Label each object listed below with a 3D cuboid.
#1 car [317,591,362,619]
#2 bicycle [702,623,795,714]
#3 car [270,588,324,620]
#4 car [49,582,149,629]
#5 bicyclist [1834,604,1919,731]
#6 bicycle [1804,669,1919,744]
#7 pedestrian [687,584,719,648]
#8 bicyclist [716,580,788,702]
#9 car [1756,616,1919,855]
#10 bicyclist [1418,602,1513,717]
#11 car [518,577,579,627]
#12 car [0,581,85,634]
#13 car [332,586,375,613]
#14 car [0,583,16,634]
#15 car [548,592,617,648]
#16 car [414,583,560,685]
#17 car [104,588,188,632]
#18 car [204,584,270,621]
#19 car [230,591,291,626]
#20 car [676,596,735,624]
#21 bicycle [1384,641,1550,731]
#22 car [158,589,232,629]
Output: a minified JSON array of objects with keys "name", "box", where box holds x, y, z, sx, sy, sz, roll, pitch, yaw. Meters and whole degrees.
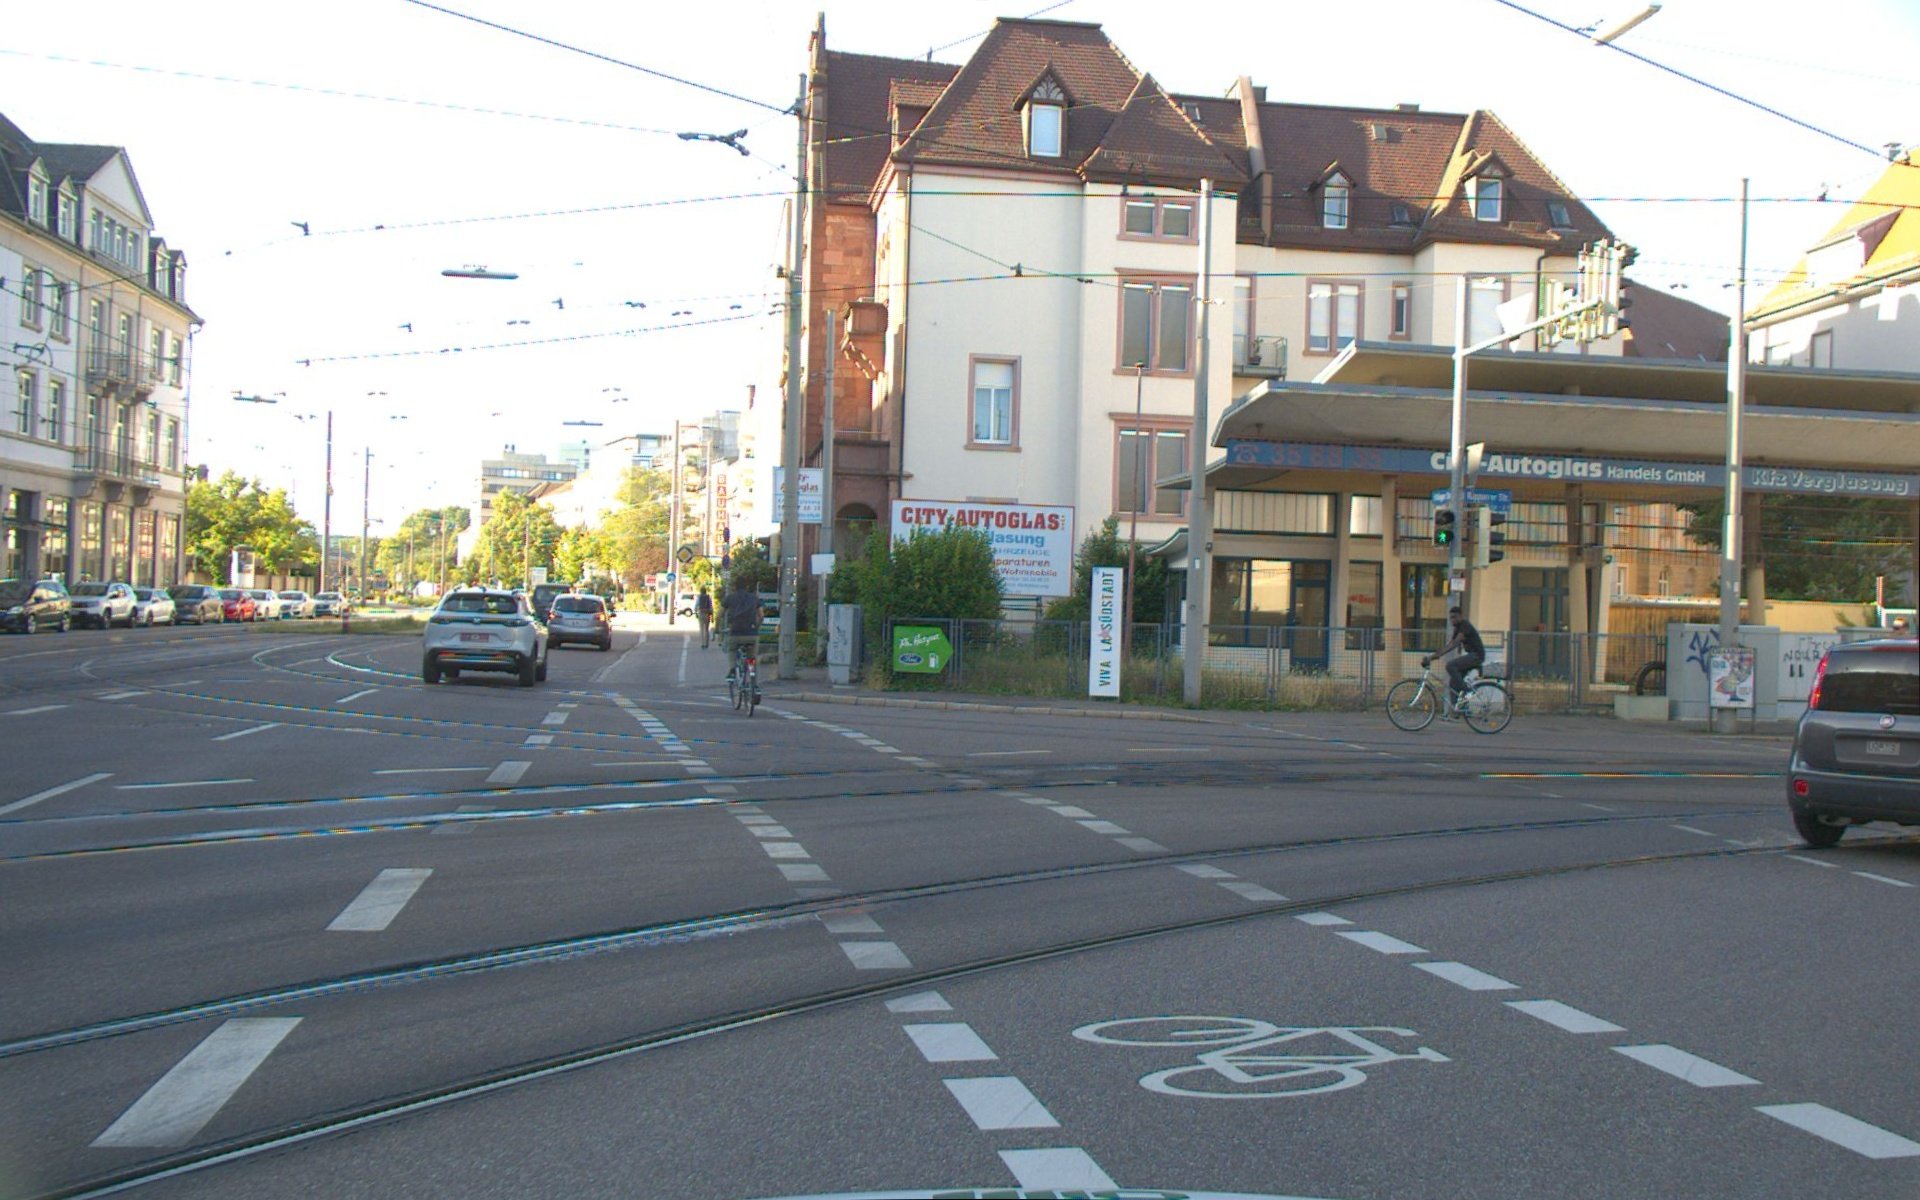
[{"name":"car","box":[-36.469,0.267,97.256,1.687,1.579,3.992,1,0,-9]},{"name":"bicycle","box":[-2.800,0.881,21.777,0.760,1.105,1.859,2,0,-22]},{"name":"car","box":[-34.678,0.198,86.569,1.687,1.579,3.992,1,0,-9]},{"name":"car","box":[-30.022,0.183,57.821,1.801,1.579,4.265,1,0,-9]},{"name":"bicyclist","box":[13.644,0.978,24.179,1.228,1.818,0.908,1,-1,-14]},{"name":"bicycle","box":[13.462,1.556,24.133,2.003,1.035,0.726,1,-1,-9]},{"name":"pedestrian","box":[-7.613,0.480,49.047,0.859,1.856,1.182,2,-1,-8]},{"name":"bicyclist","box":[-2.728,0.528,21.638,0.819,1.552,0.991,2,-1,-12]},{"name":"car","box":[7.699,0.942,12.154,3.957,1.527,1.714,2,0,-37]},{"name":"bicyclist","box":[7.006,0.815,22.968,1.026,1.553,0.879,1,0,0]},{"name":"car","box":[-17.739,0.086,71.488,2.132,2.044,4.797,1,0,-9]},{"name":"car","box":[-28.718,0.215,51.186,1.687,1.579,3.848,1,0,-9]},{"name":"car","box":[-37.783,-0.028,103.120,1.687,1.579,3.992,1,0,-9]},{"name":"car","box":[-28.150,0.226,46.270,1.687,1.477,3.992,1,0,-9]},{"name":"car","box":[-11.525,0.590,50.710,1.781,1.610,3.991,1,0,-10]},{"name":"car","box":[-7.967,0.536,28.198,1.912,1.555,4.080,2,0,-10]},{"name":"car","box":[-30.889,0.357,62.874,1.687,1.579,3.992,1,0,-9]},{"name":"car","box":[-32.228,0.092,73.816,1.687,1.579,3.992,1,0,-9]},{"name":"car","box":[-33.148,0.387,78.460,1.687,1.579,3.992,1,0,-9]},{"name":"car","box":[-19.870,0.743,129.094,4.193,2.049,1.990,2,-1,-19]},{"name":"bicycle","box":[7.026,1.181,22.979,2.016,1.145,0.896,1,0,-1]},{"name":"car","box":[-31.376,0.367,67.928,1.687,1.579,3.992,1,0,-9]}]
